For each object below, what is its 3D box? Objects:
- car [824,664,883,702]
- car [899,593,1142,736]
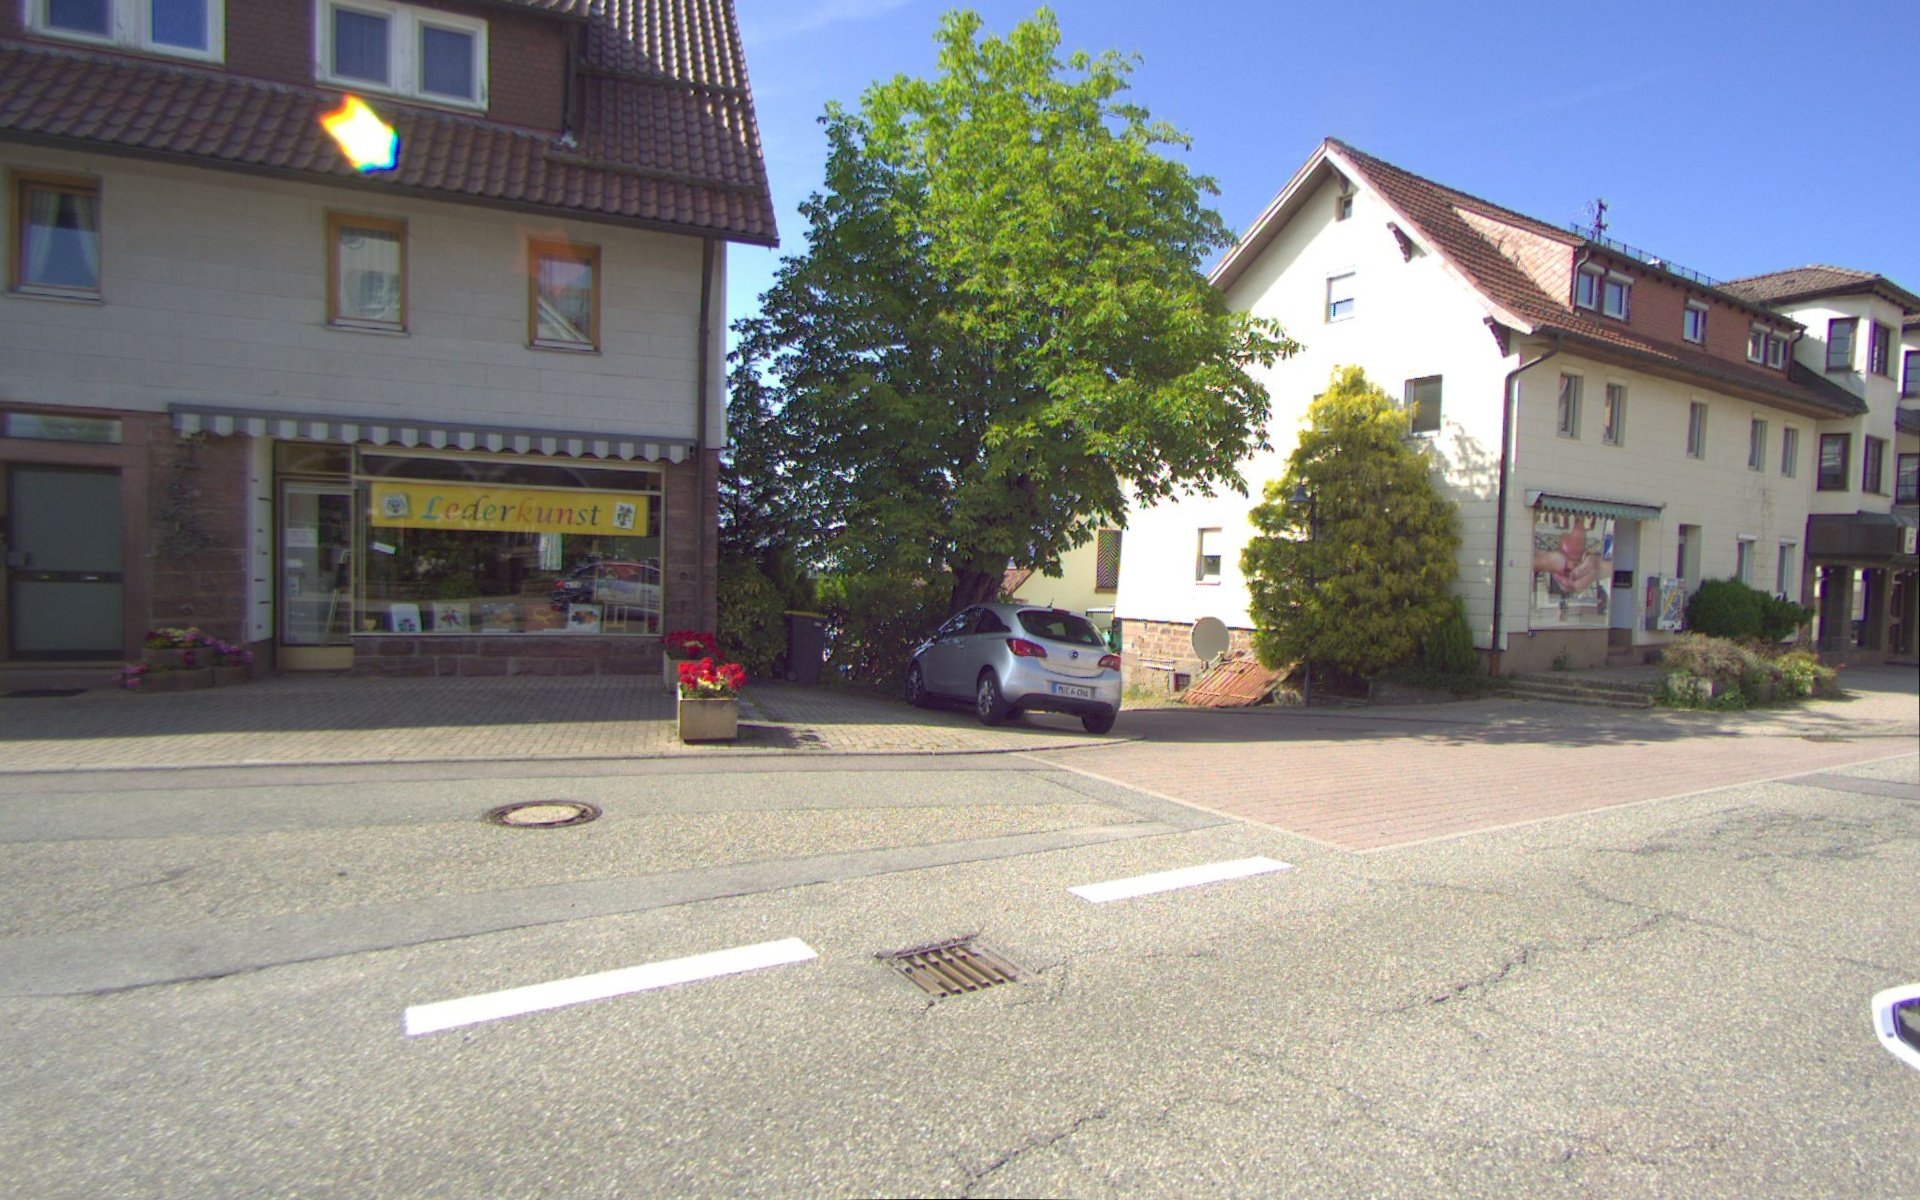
[{"bbox_3d":[-4.542,3.466,42.283,1.736,1.483,3.987,0,-4,-17],"label":"car"},{"bbox_3d":[0.622,0.789,13.197,1.790,1.472,3.755,6,-3,-19],"label":"car"}]
